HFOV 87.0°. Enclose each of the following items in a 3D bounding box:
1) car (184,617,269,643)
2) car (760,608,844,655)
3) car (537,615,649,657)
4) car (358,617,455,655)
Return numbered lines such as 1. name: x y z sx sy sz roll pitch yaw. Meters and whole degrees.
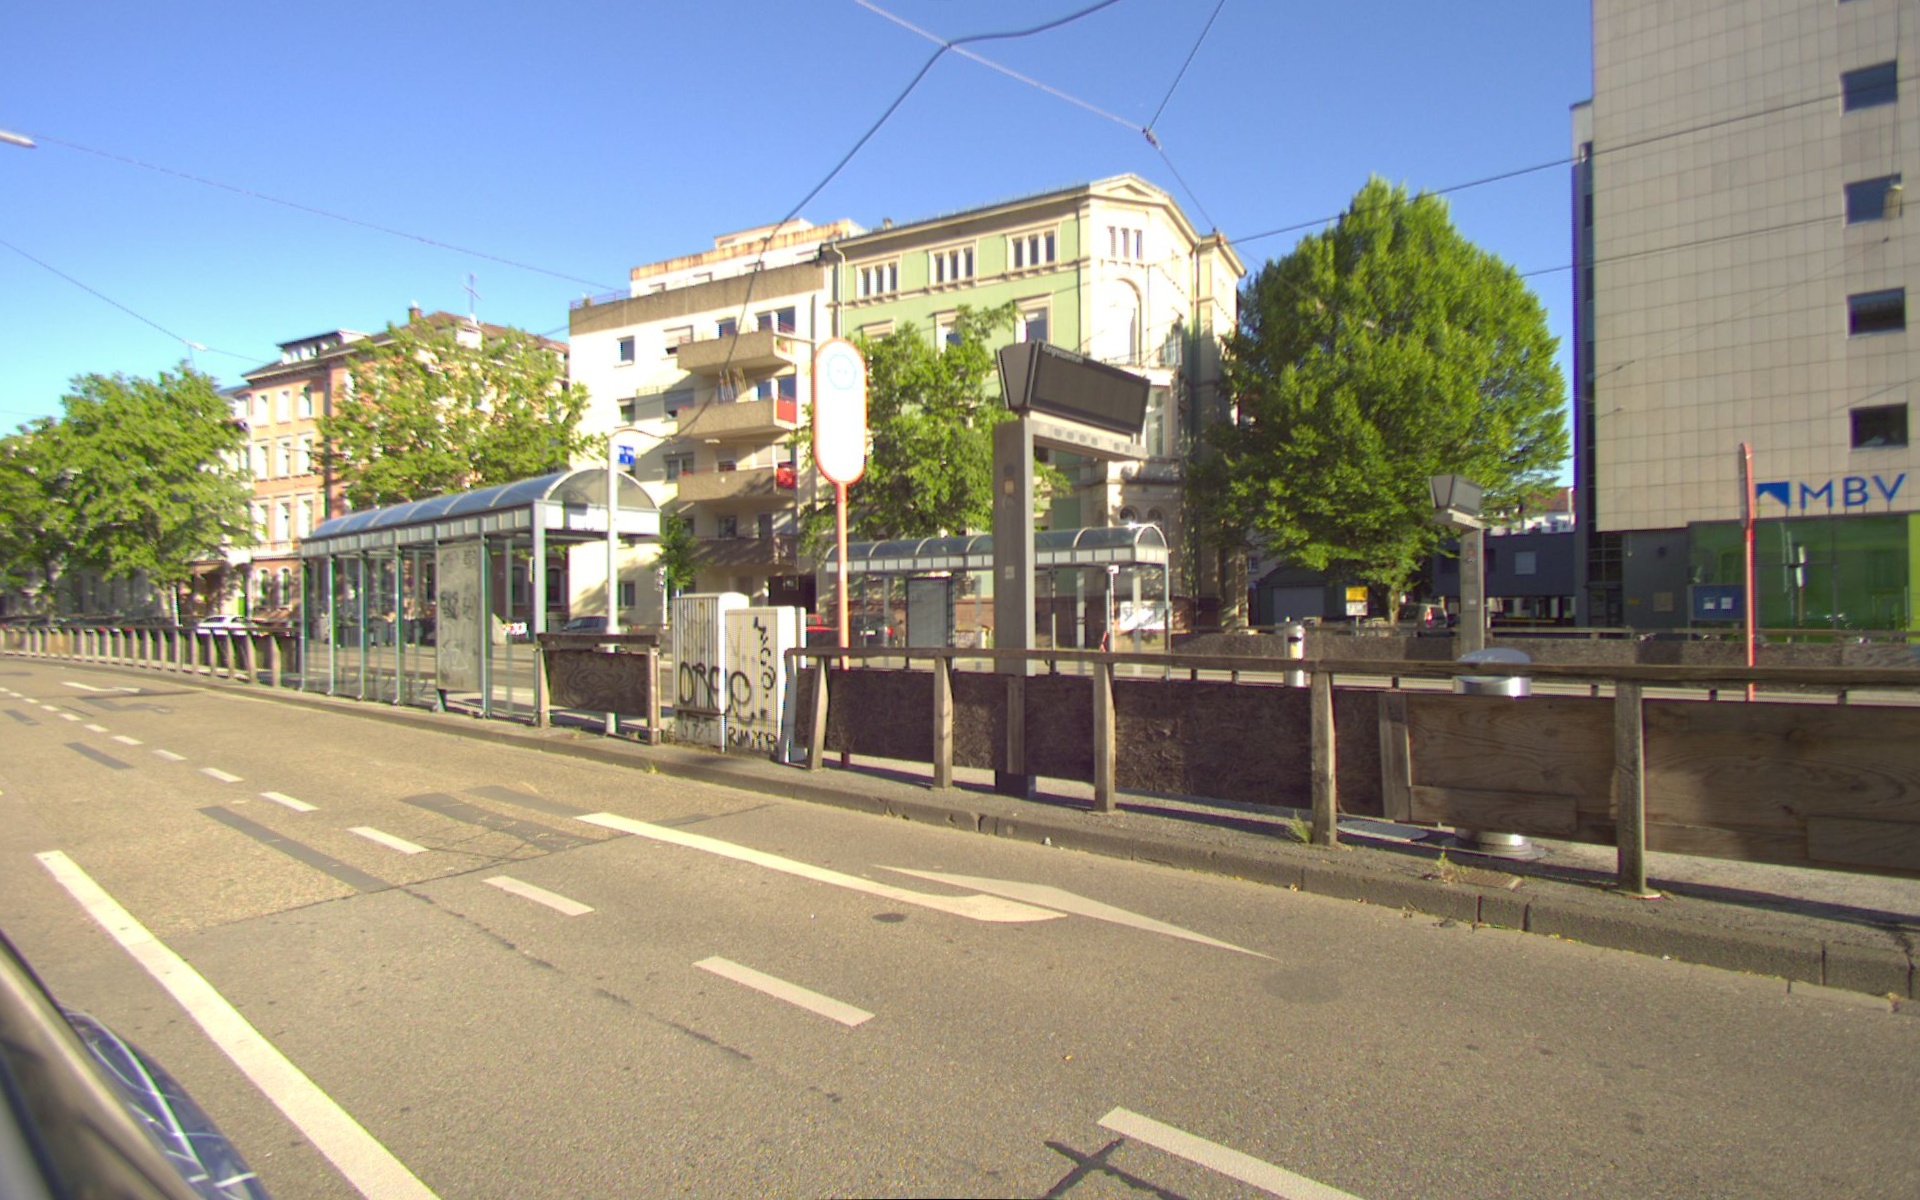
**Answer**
1. car: -39.225 1.579 54.208 1.565 1.360 3.631 0 -1 11
2. car: -7.074 1.401 45.565 1.791 2.029 3.963 -1 -1 27
3. car: -14.045 1.379 38.709 3.987 1.542 1.978 -1 -3 32
4. car: -23.852 1.525 43.584 3.987 1.541 1.978 -1 -2 32
